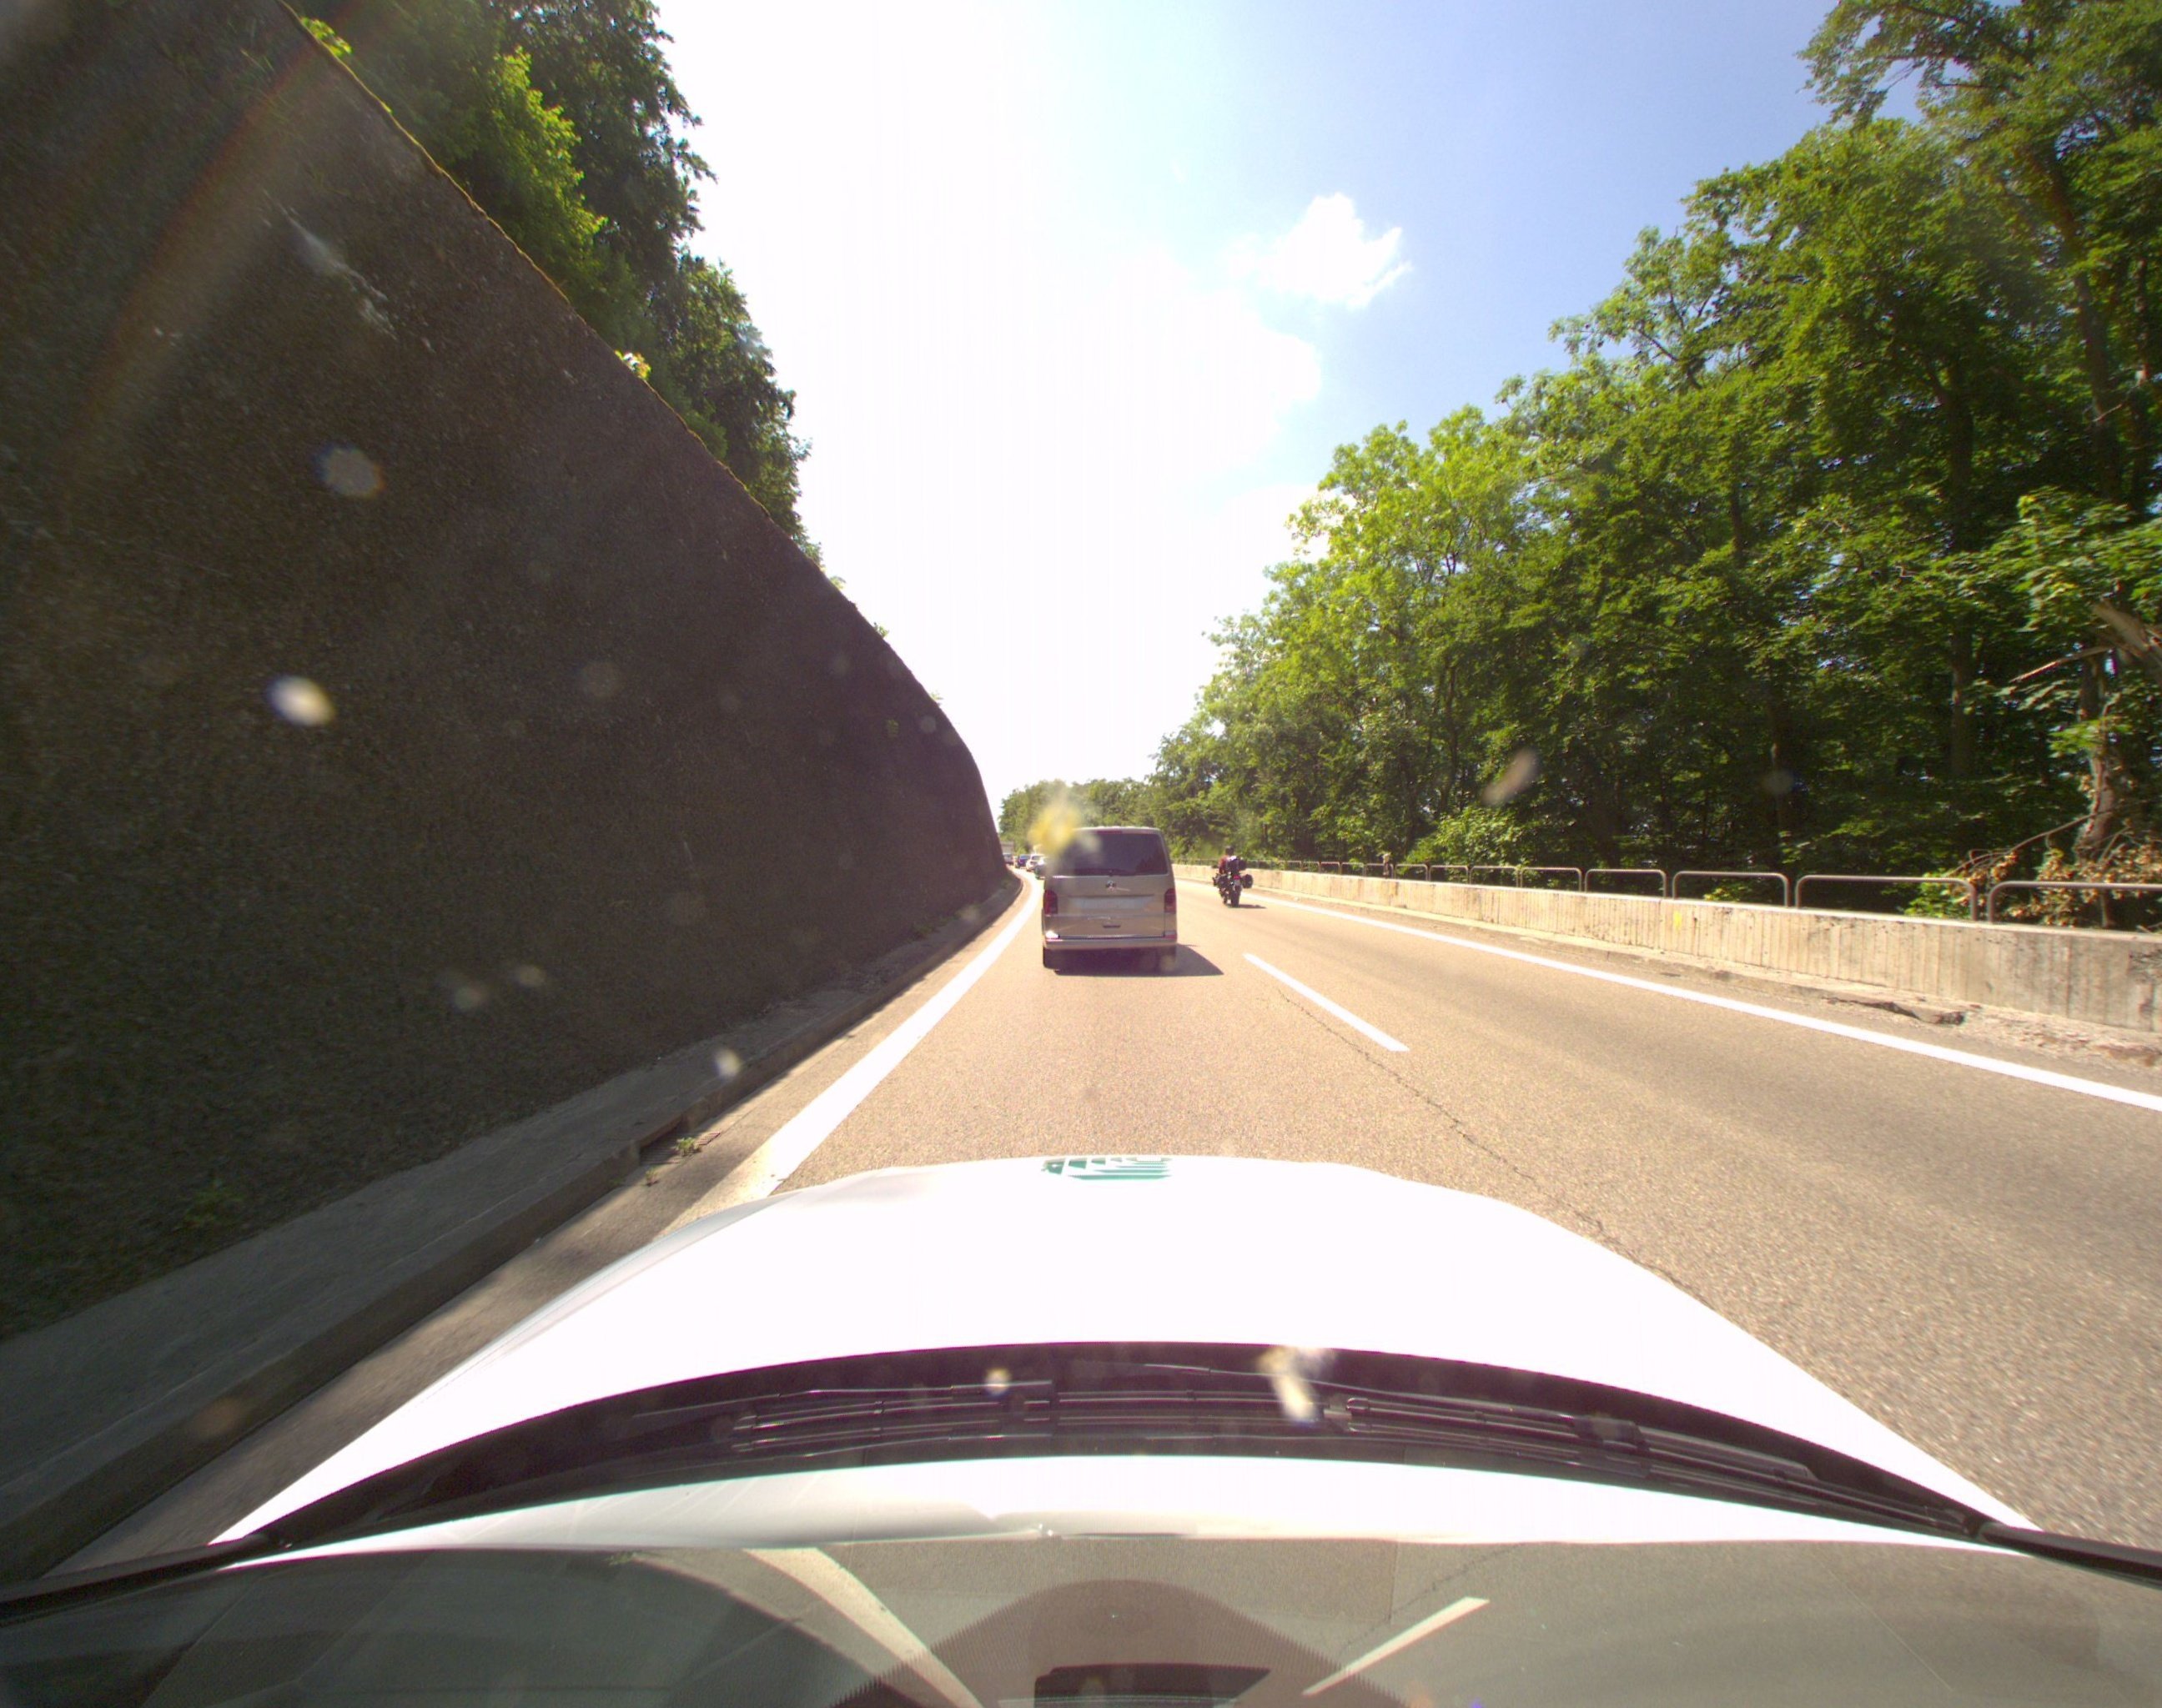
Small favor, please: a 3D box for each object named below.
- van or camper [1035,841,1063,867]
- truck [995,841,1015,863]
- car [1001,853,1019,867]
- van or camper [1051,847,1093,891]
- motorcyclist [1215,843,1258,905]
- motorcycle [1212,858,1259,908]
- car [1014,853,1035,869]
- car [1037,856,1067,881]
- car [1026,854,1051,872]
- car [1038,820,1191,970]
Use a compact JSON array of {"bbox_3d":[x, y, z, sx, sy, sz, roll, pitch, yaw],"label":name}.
[{"bbox_3d":[-3.940,-0.003,99.578,2.602,2.855,6.319,4,0,-8],"label":"van or camper"},{"bbox_3d":[-13.126,-0.276,139.408,2.924,3.687,7.700,0,0,-9],"label":"truck"},{"bbox_3d":[-8.689,0.692,99.133,1.993,1.618,3.988,0,0,-9],"label":"car"},{"bbox_3d":[-0.469,0.672,38.753,1.848,1.942,4.162,-1,0,-2],"label":"van or camper"},{"bbox_3d":[4.654,0.581,24.479,1.056,1.800,1.338,0,0,1],"label":"motorcyclist"},{"bbox_3d":[4.645,0.834,24.647,0.969,1.419,2.681,0,0,1],"label":"motorcycle"},{"bbox_3d":[-5.837,0.740,83.673,1.857,1.620,3.988,0,0,-9],"label":"car"},{"bbox_3d":[-1.835,0.884,51.544,1.767,1.472,3.997,0,0,-2],"label":"car"},{"bbox_3d":[-3.716,0.775,70.497,1.861,1.486,3.991,0,0,-7],"label":"car"},{"bbox_3d":[0.320,0.532,12.911,1.937,1.931,4.688,0,0,-4],"label":"car"}]
